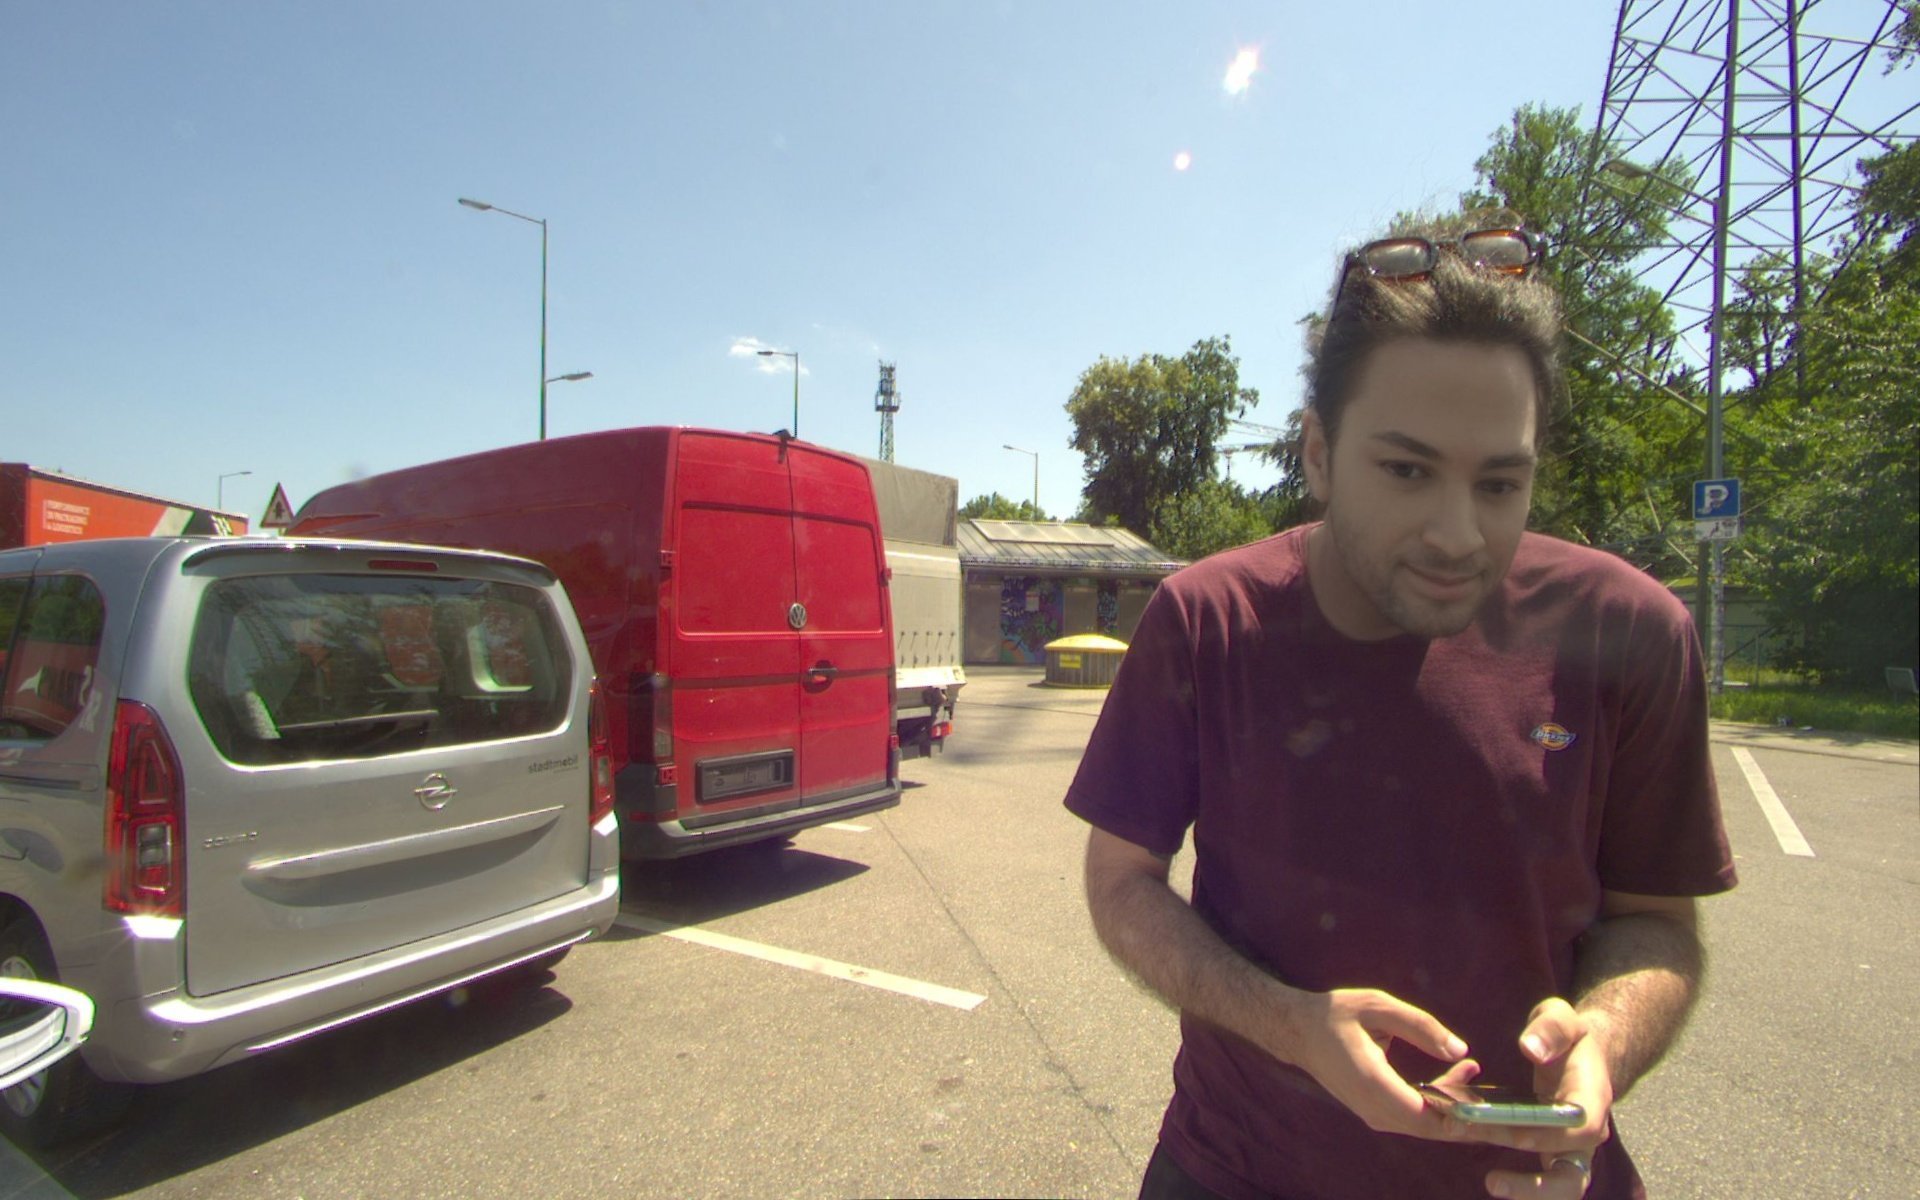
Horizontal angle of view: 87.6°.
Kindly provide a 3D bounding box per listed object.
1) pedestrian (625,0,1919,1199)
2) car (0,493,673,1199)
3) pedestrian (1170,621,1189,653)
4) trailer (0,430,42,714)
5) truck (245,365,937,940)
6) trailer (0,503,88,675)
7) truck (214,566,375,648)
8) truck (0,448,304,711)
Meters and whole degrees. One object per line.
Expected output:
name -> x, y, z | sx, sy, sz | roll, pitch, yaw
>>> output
pedestrian -> 0.362, 0.504, 0.852 | 0.926, 1.798, 0.827 | 1, -1, 28
car -> -3.327, 0.641, 4.213 | 3.938, 1.776, 1.824 | 0, -1, 29
pedestrian -> 9.828, 1.645, 44.854 | 0.579, 1.402, 0.754 | 0, -1, -8
trailer -> -15.058, -0.506, 11.568 | 2.792, 4.313, 8.673 | 1, -1, -15
truck -> -2.840, 0.266, 6.998 | 5.233, 2.658, 1.987 | 0, -1, 37
trailer -> -28.772, -0.283, 28.033 | 13.374, 4.178, 2.871 | 0, -1, 33
truck -> -30.683, 0.328, 46.076 | 8.407, 3.482, 3.019 | 0, -1, 33
truck -> -17.351, -0.243, 20.834 | 2.645, 4.181, 10.594 | 1, -1, -13
